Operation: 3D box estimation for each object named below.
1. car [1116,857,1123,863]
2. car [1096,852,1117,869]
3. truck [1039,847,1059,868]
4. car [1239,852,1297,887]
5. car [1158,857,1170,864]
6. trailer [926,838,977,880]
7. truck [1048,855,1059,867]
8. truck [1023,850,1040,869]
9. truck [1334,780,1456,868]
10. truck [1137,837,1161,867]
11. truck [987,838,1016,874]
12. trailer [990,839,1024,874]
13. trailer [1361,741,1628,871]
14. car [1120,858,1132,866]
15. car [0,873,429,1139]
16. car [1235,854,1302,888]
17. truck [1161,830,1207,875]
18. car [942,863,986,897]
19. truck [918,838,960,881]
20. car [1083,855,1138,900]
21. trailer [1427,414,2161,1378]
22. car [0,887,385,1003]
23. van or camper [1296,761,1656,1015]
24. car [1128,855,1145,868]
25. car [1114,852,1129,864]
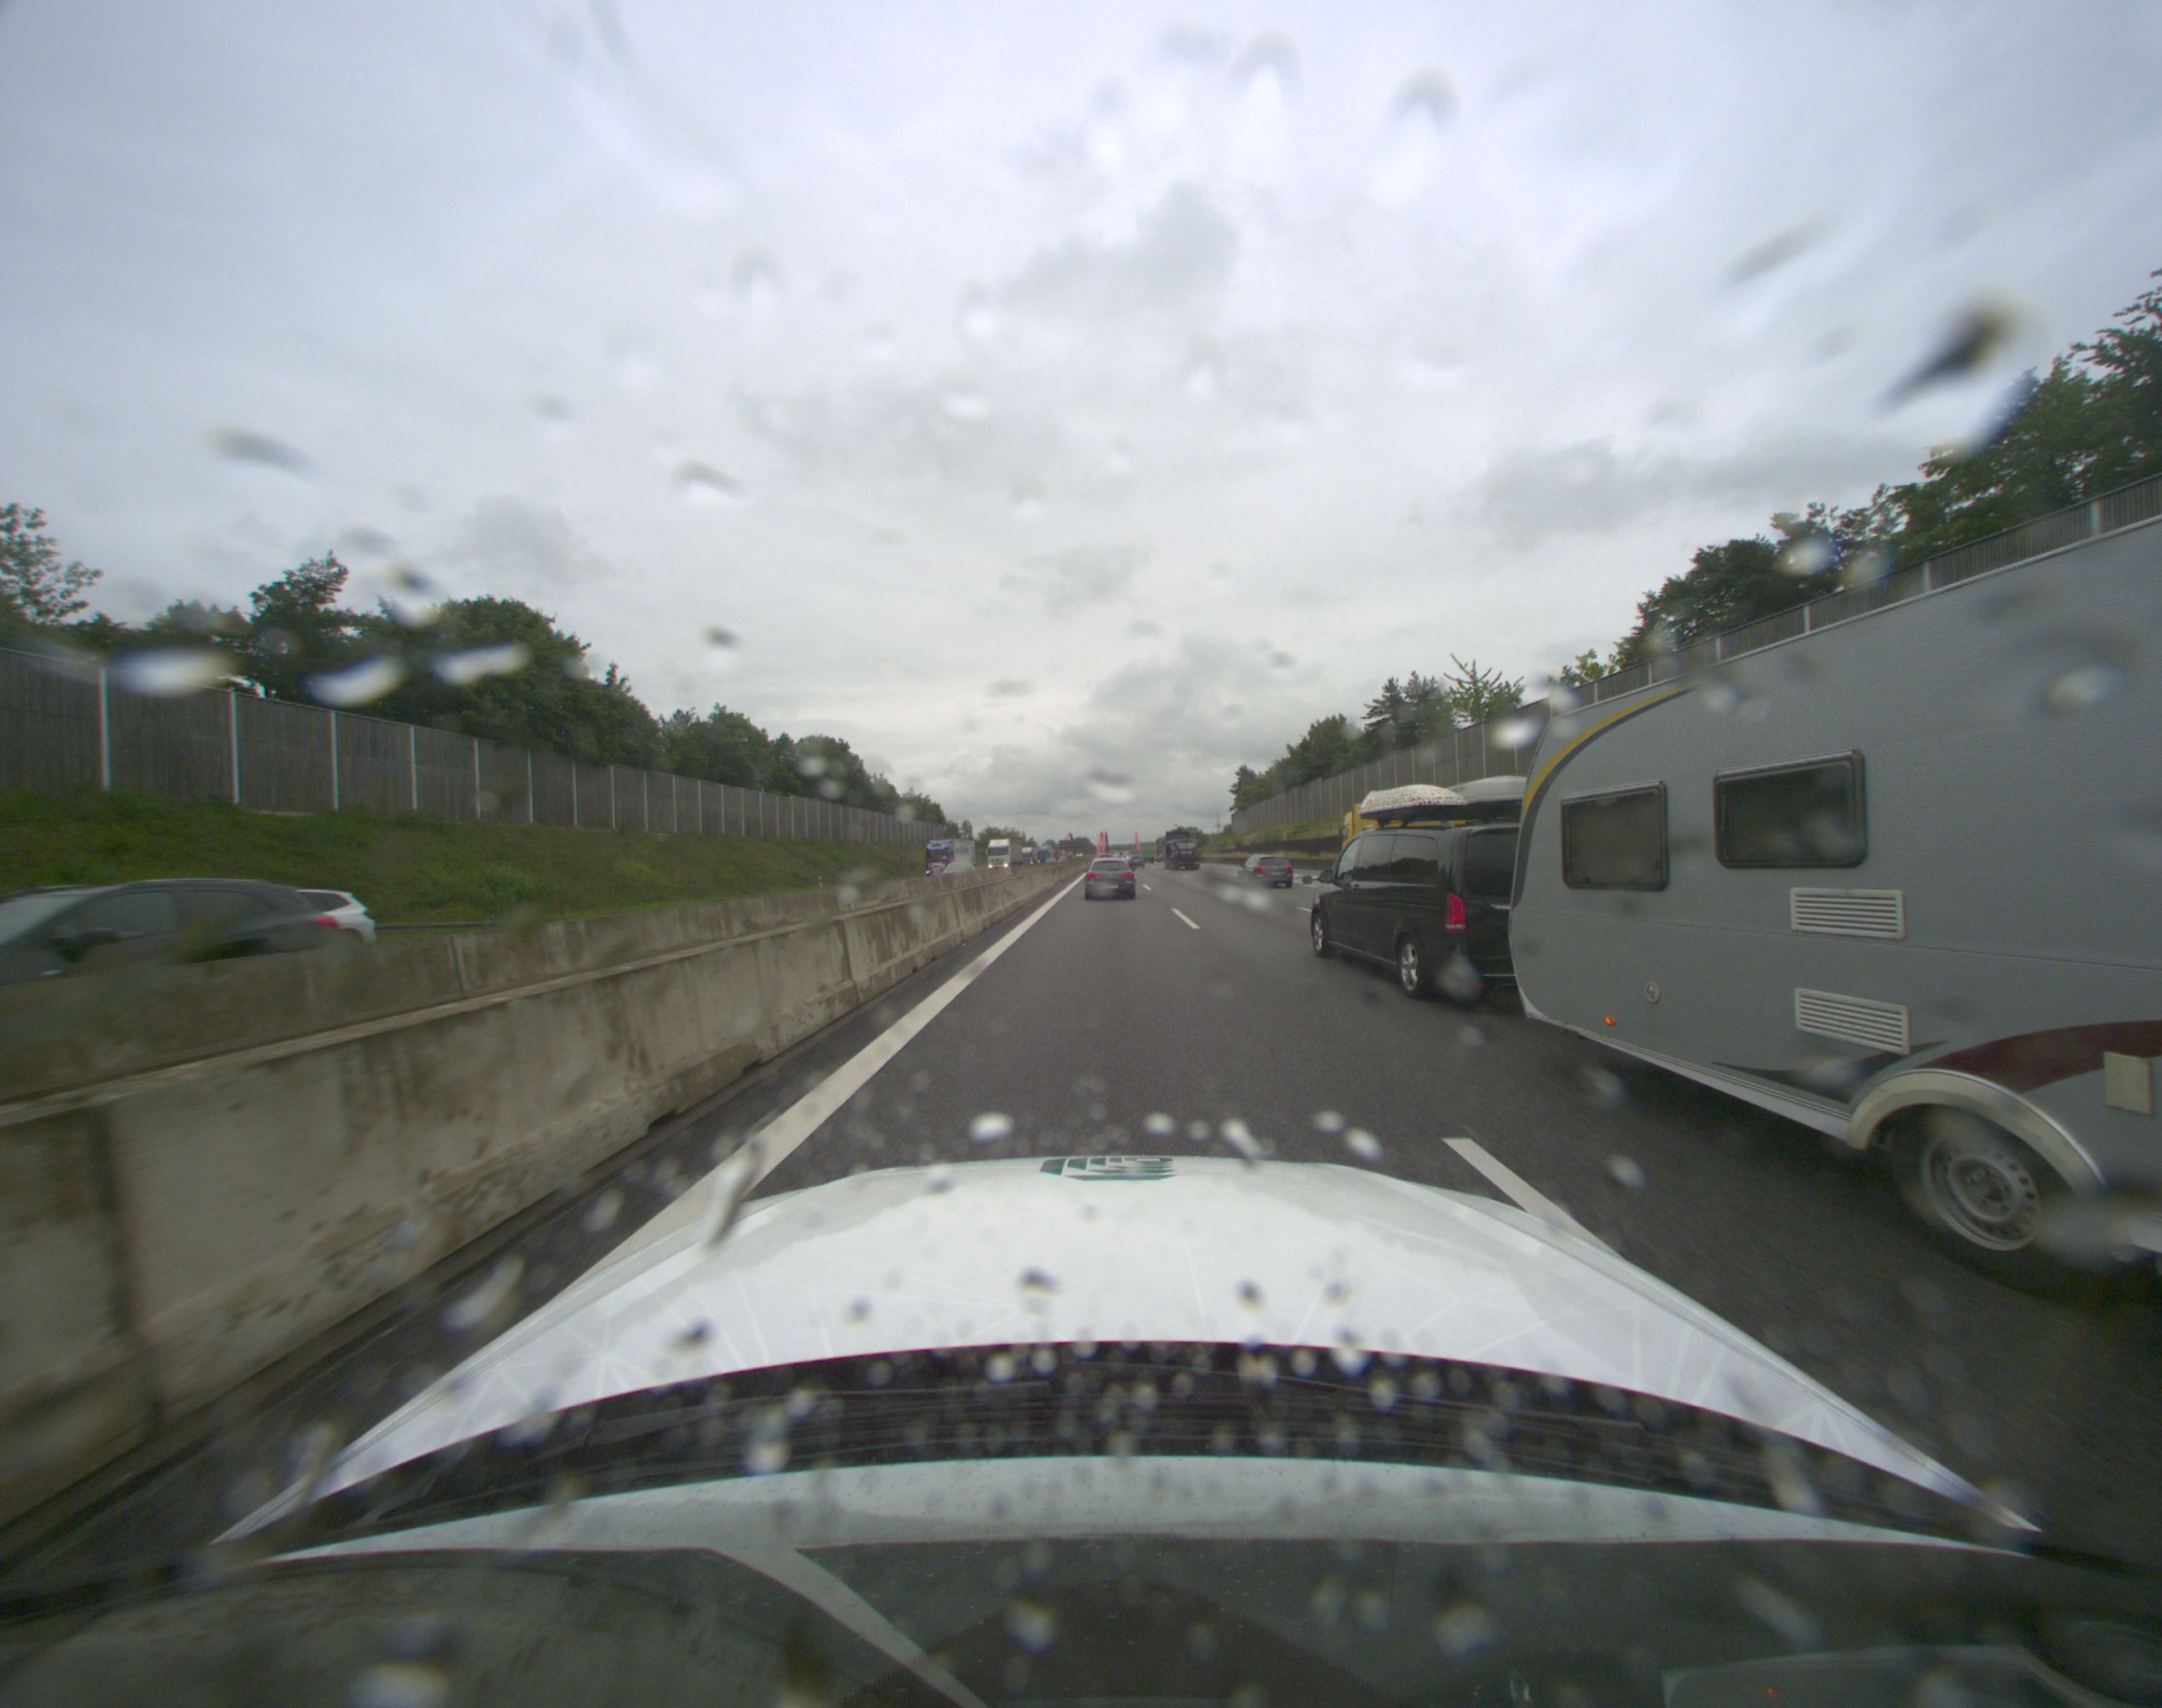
[{"bbox_3d":[11.856,1.832,249.413,1.985,1.815,4.003,-1,0,3],"label":"car"},{"bbox_3d":[2.483,0.605,80.612,1.986,1.585,4.001,-2,0,1],"label":"car"},{"bbox_3d":[-6.643,0.723,171.250,3.139,4.325,12.686,0,-1,2],"label":"truck"},{"bbox_3d":[8.292,0.684,36.467,1.657,1.456,4.471,0,-1,1],"label":"car"},{"bbox_3d":[16.814,1.366,164.699,1.986,1.354,4.001,-2,0,1],"label":"car"},{"bbox_3d":[-14.689,0.633,93.747,3.078,4.325,14.343,-2,-1,2],"label":"trailer"},{"bbox_3d":[-8.538,2.177,255.058,2.683,3.707,6.489,0,-1,5],"label":"truck"},{"bbox_3d":[-10.408,1.123,171.798,2.878,3.796,5.892,-2,0,2],"label":"truck"},{"bbox_3d":[15.605,-1.317,41.338,2.676,3.958,9.327,0,-1,1],"label":"truck"},{"bbox_3d":[12.434,-0.299,149.788,3.981,5.266,11.227,0,-1,3],"label":"truck"},{"bbox_3d":[-9.725,0.283,100.021,2.769,4.325,6.099,0,-1,2],"label":"truck"},{"bbox_3d":[-9.525,0.347,106.353,2.769,4.325,14.029,0,-1,2],"label":"trailer"},{"bbox_3d":[15.497,-1.407,33.234,2.641,3.953,16.687,0,0,1],"label":"trailer"},{"bbox_3d":[8.182,1.362,147.819,1.986,1.354,4.001,-2,0,1],"label":"car"},{"bbox_3d":[-9.515,1.287,8.134,1.986,2.013,4.770,-2,0,2],"label":"car"},{"bbox_3d":[8.363,0.717,36.824,1.932,1.427,5.291,0,0,1],"label":"car"},{"bbox_3d":[9.975,-0.122,80.381,3.078,3.950,12.949,-2,-1,2],"label":"truck"},{"bbox_3d":[-7.615,1.675,53.403,1.986,2.013,4.771,-2,0,2],"label":"car"},{"bbox_3d":[-14.936,0.602,86.214,3.078,4.325,6.100,-2,-1,2],"label":"truck"},{"bbox_3d":[1.002,0.788,28.703,1.757,1.453,4.000,-1,0,1],"label":"car"},{"bbox_3d":[4.326,0.112,3.301,2.712,2.642,7.511,0,0,0],"label":"trailer"},{"bbox_3d":[-16.855,1.605,15.966,1.986,1.643,4.962,-2,0,2],"label":"car"},{"bbox_3d":[4.296,0.315,10.164,1.883,2.269,5.681,0,0,2],"label":"van or camper"},{"bbox_3d":[6.361,0.841,93.949,1.775,1.406,3.628,-1,0,2],"label":"car"},{"bbox_3d":[5.744,0.611,115.957,1.986,1.662,4.002,-1,0,2],"label":"car"}]
